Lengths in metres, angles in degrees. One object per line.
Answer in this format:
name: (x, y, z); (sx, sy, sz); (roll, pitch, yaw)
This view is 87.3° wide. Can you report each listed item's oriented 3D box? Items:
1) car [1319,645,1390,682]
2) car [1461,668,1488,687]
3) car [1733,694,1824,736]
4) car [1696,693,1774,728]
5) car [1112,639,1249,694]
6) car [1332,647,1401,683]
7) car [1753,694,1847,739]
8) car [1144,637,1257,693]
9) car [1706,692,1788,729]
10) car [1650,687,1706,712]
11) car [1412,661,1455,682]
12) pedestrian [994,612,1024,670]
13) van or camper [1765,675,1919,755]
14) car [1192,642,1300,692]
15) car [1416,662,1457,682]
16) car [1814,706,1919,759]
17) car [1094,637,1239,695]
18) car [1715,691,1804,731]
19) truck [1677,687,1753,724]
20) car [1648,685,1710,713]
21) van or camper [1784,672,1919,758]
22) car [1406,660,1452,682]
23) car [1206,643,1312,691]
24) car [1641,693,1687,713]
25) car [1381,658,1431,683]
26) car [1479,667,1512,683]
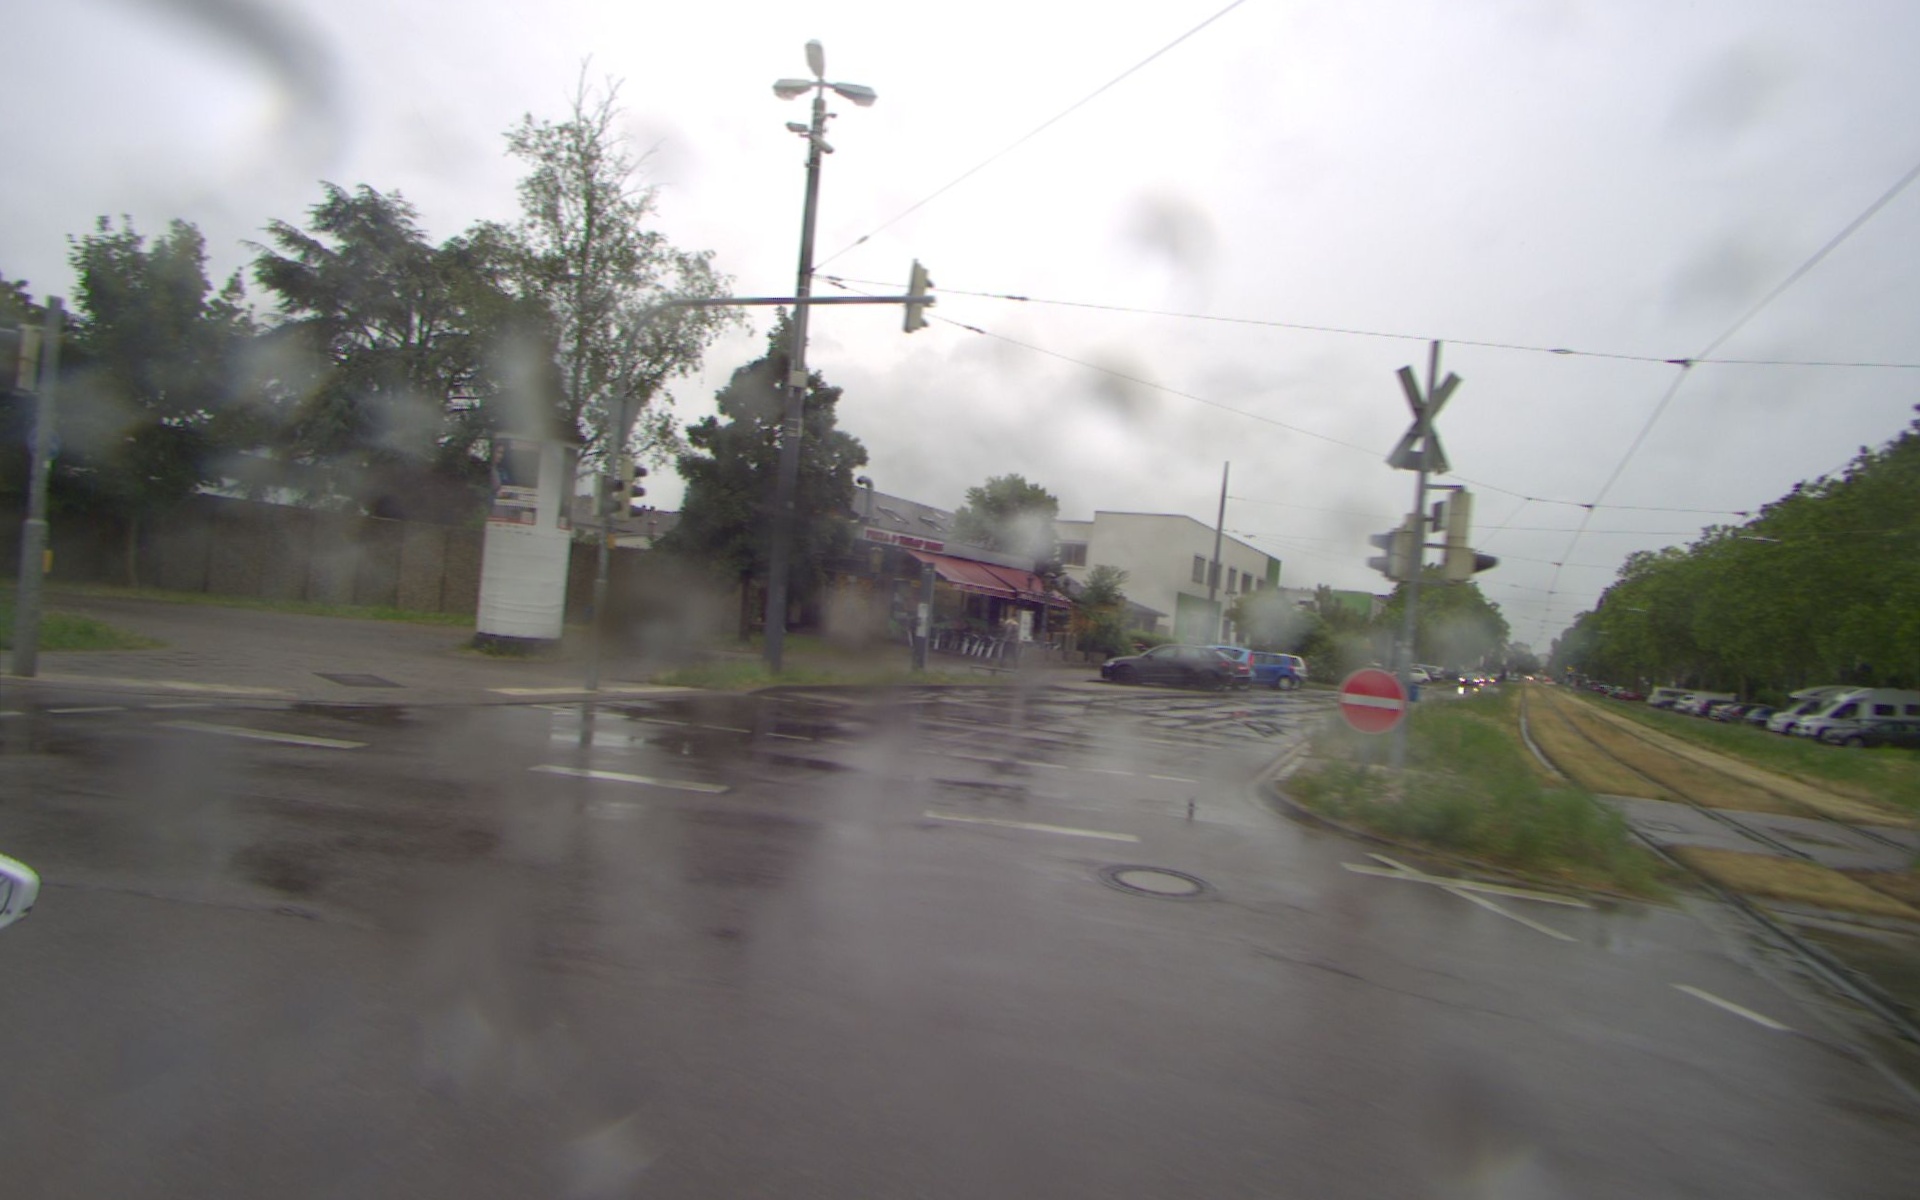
car: (26.048, 4.184, 66.523); (3.924, 1.864, 2.001); (7, 0, 14)
car: (55.815, 8.450, 109.148); (1.867, 1.682, 3.988); (7, 0, 36)
car: (52.146, 7.302, 64.187); (4.248, 1.969, 1.959); (7, 0, 39)
car: (61.686, 8.804, 80.215); (4.666, 2.038, 2.422); (7, 0, 37)
car: (7.649, 2.276, 34.918); (4.426, 1.436, 1.859); (5, -1, 14)
car: (27.790, 4.434, 68.880); (3.924, 1.886, 2.001); (7, 0, 14)
car: (50.763, 7.006, 60.923); (4.125, 2.038, 2.178); (7, 0, 39)
car: (9.108, 2.429, 38.051); (3.925, 1.601, 1.859); (6, 0, 18)
car: (59.327, 8.296, 75.915); (4.668, 2.038, 2.421); (7, 0, 39)
car: (69.215, 9.584, 97.043); (3.931, 1.805, 1.879); (7, 0, 28)
car: (55.722, 8.444, 118.480); (3.925, 1.854, 2.000); (7, 0, 2)
pedestrian: (1.607, 1.332, 33.061); (0.713, 1.820, 0.886); (8, 1, 6)
van or camper: (48.019, 6.185, 53.729); (7.334, 3.217, 3.253); (7, 0, 36)
car: (12.019, 2.811, 42.485); (3.925, 1.601, 1.930); (6, 0, 2)
car: (58.320, 8.837, 123.070); (3.924, 1.854, 2.001); (7, 0, 9)
car: (40.291, 5.814, 43.803); (4.387, 1.738, 1.995); (7, 0, 34)
car: (6.701, 2.103, 32.667); (4.406, 1.435, 1.859); (4, -1, 14)
car: (56.290, 7.837, 70.960); (4.668, 2.038, 2.421); (7, 0, 39)
truck: (62.654, 8.735, 83.578); (4.662, 2.367, 2.424); (7, 0, 34)
car: (70.963, 9.707, 99.395); (4.570, 2.038, 2.041); (7, 0, 29)
van or camper: (43.087, 5.453, 46.322); (7.224, 3.217, 3.256); (7, 0, 31)
car: (51.364, 7.815, 110.307); (3.925, 1.780, 2.010); (7, 0, 2)
car: (13.441, 3.004, 45.372); (4.045, 1.661, 1.930); (6, 0, -1)
car: (79.379, 11.563, 113.494); (3.934, 1.611, 1.696); (7, 0, 32)
car: (41.698, 6.565, 94.068); (3.715, 1.723, 1.837); (7, 0, 3)
car: (84.009, 11.710, 157.830); (3.924, 1.854, 2.001); (7, 0, 9)
